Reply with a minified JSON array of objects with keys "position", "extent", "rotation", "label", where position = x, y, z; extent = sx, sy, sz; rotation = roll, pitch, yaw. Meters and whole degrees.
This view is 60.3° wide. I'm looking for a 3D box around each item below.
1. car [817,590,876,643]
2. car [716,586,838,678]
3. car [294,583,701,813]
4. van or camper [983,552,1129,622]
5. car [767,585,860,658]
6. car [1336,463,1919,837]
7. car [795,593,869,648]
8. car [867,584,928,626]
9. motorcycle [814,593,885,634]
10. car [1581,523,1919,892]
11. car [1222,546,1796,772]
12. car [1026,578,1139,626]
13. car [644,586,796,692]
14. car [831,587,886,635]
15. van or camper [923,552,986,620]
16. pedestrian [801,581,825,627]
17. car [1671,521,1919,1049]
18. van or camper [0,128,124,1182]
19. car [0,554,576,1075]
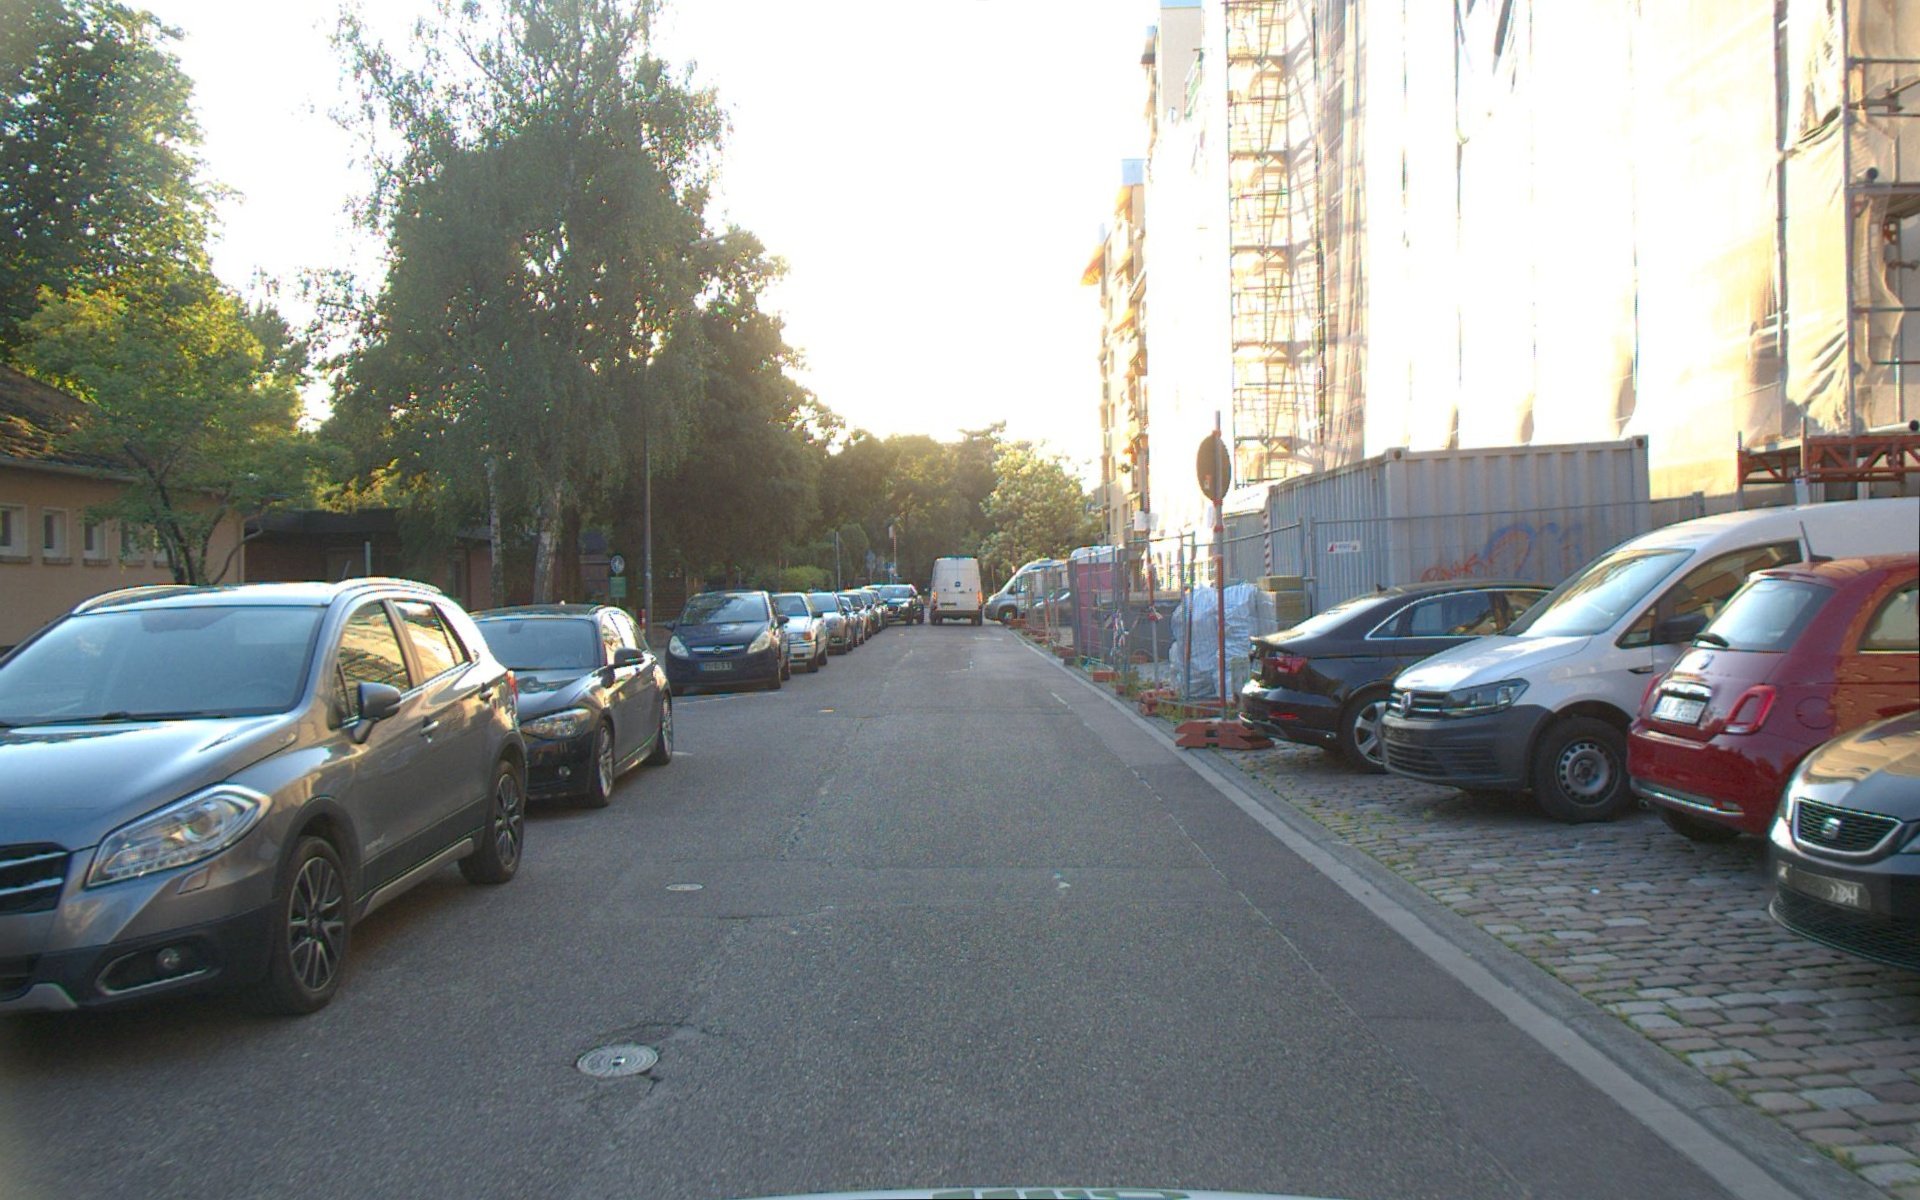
[{"position":[-3.431,0.468,50.523],"extent":[1.569,1.456,3.802],"rotation":[-4,0,-2],"label":"car"},{"position":[-3.339,0.536,30.919],"extent":[1.746,1.470,4.747],"rotation":[-3,0,-1],"label":"car"},{"position":[-3.348,0.618,12.908],"extent":[1.953,1.478,4.288],"rotation":[-1,0,0],"label":"car"},{"position":[3.899,-0.516,67.870],"extent":[5.808,2.818,2.109],"rotation":[0,0,-2],"label":"van or camper"},{"position":[-3.422,0.476,39.476],"extent":[1.822,1.564,4.758],"rotation":[-2,0,-1],"label":"car"},{"position":[4.830,0.218,10.797],"extent":[4.187,2.014,1.819],"rotation":[-4,1,-8],"label":"car"},{"position":[-3.415,0.527,44.764],"extent":[1.625,1.336,4.154],"rotation":[-2,0,0],"label":"car"},{"position":[-2.490,0.181,66.886],"extent":[1.766,1.596,4.569],"rotation":[-1,0,7],"label":"car"},{"position":[-3.587,0.425,53.736],"extent":[2.118,1.326,0.880],"rotation":[0,0,14],"label":"motorcycle"},{"position":[5.290,0.449,8.368],"extent":[3.618,1.638,1.744],"rotation":[-1,0,-3],"label":"car"},{"position":[4.314,0.440,13.496],"extent":[4.067,1.644,1.872],"rotation":[-1,0,1],"label":"car"},{"position":[4.572,0.071,62.267],"extent":[3.910,1.542,2.017],"rotation":[-4,0,-5],"label":"car"},{"position":[-3.589,0.528,25.409],"extent":[1.954,1.478,3.997],"rotation":[-1,0,-3],"label":"car"},{"position":[-3.470,0.357,56.931],"extent":[1.681,1.522,4.359],"rotation":[-2,0,-2],"label":"car"},{"position":[-0.212,-0.558,66.878],"extent":[2.403,2.591,6.083],"rotation":[1,0,0],"label":"van or camper"},{"position":[-6.043,0.159,67.965],"extent":[0.919,1.862,0.786],"rotation":[0,0,-2],"label":"pedestrian"},{"position":[4.804,0.521,5.763],"extent":[3.885,1.599,1.788],"rotation":[-1,0,-4],"label":"car"},{"position":[-3.226,0.164,1.414],"extent":[1.953,2.499,6.082],"rotation":[-1,1,-1],"label":"van or camper"},{"position":[-3.241,0.624,7.314],"extent":[1.953,1.545,4.789],"rotation":[-1,0,0],"label":"car"}]
